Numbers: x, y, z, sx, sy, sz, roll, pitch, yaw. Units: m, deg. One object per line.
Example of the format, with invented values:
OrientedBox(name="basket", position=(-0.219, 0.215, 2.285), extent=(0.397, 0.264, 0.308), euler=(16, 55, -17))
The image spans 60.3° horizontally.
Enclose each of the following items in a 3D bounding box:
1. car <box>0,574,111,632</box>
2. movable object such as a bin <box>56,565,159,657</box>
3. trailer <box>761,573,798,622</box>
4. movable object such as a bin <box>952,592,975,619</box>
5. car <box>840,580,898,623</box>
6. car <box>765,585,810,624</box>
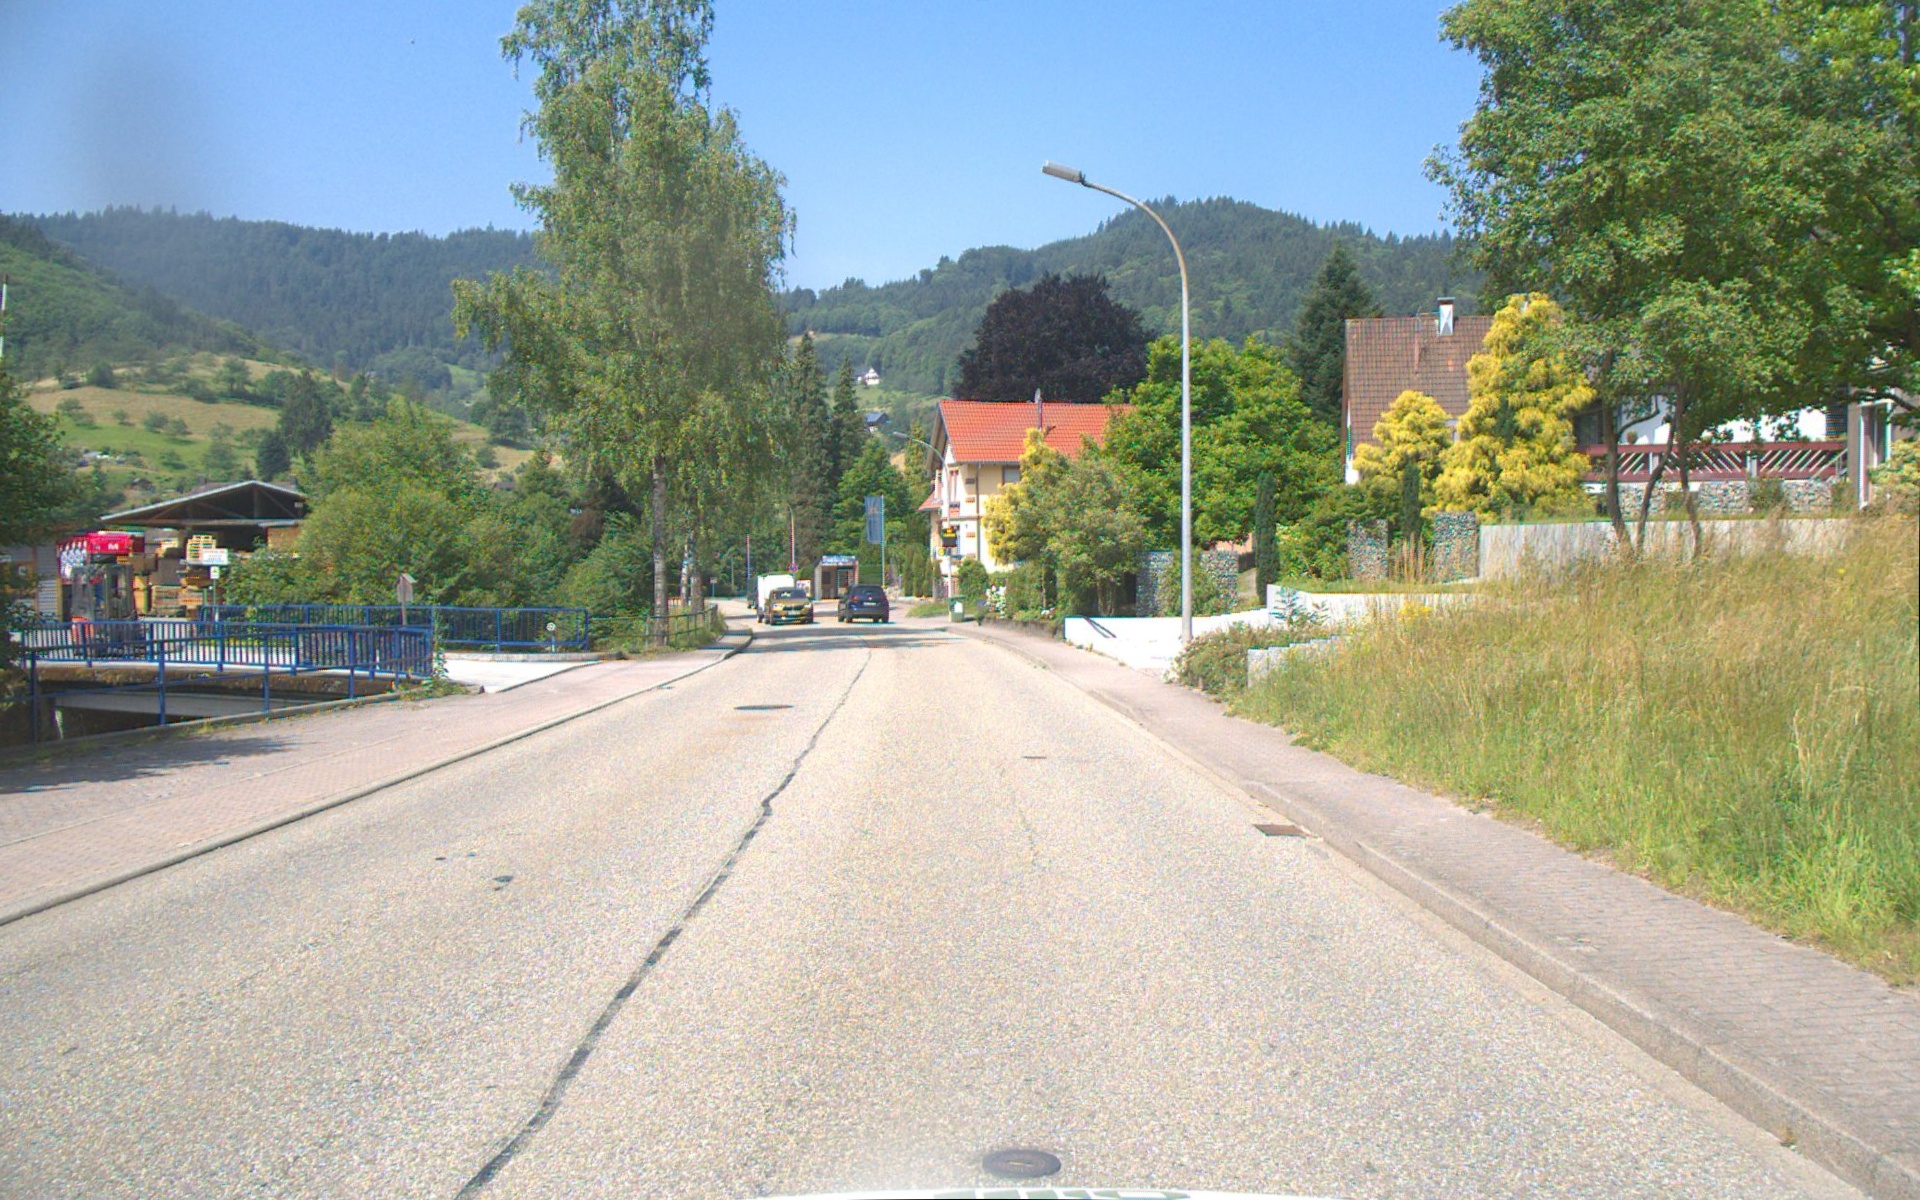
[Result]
OrientedBox(name="car", position=(-34.893, 0.094, 63.056), extent=(1.961, 2.048, 3.984), euler=(-2, 1, 37))
OrientedBox(name="movable object such as a bin", position=(-20.192, 0.254, 39.178), extent=(2.078, 2.108, 1.135), euler=(-1, 1, 27))
OrientedBox(name="trailer", position=(-8.156, -0.124, 74.856), extent=(1.438, 2.114, 3.668), euler=(-2, 1, -3))
OrientedBox(name="movable object such as a bin", position=(0.136, 0.232, 66.652), extent=(0.794, 1.060, 0.577), euler=(-2, 1, -10))
OrientedBox(name="car", position=(-3.934, 0.035, 70.817), extent=(1.886, 1.728, 3.776), euler=(-2, 1, -13))
OrientedBox(name="car", position=(-7.291, 0.166, 69.914), extent=(1.778, 1.526, 4.144), euler=(-2, 1, -6))
